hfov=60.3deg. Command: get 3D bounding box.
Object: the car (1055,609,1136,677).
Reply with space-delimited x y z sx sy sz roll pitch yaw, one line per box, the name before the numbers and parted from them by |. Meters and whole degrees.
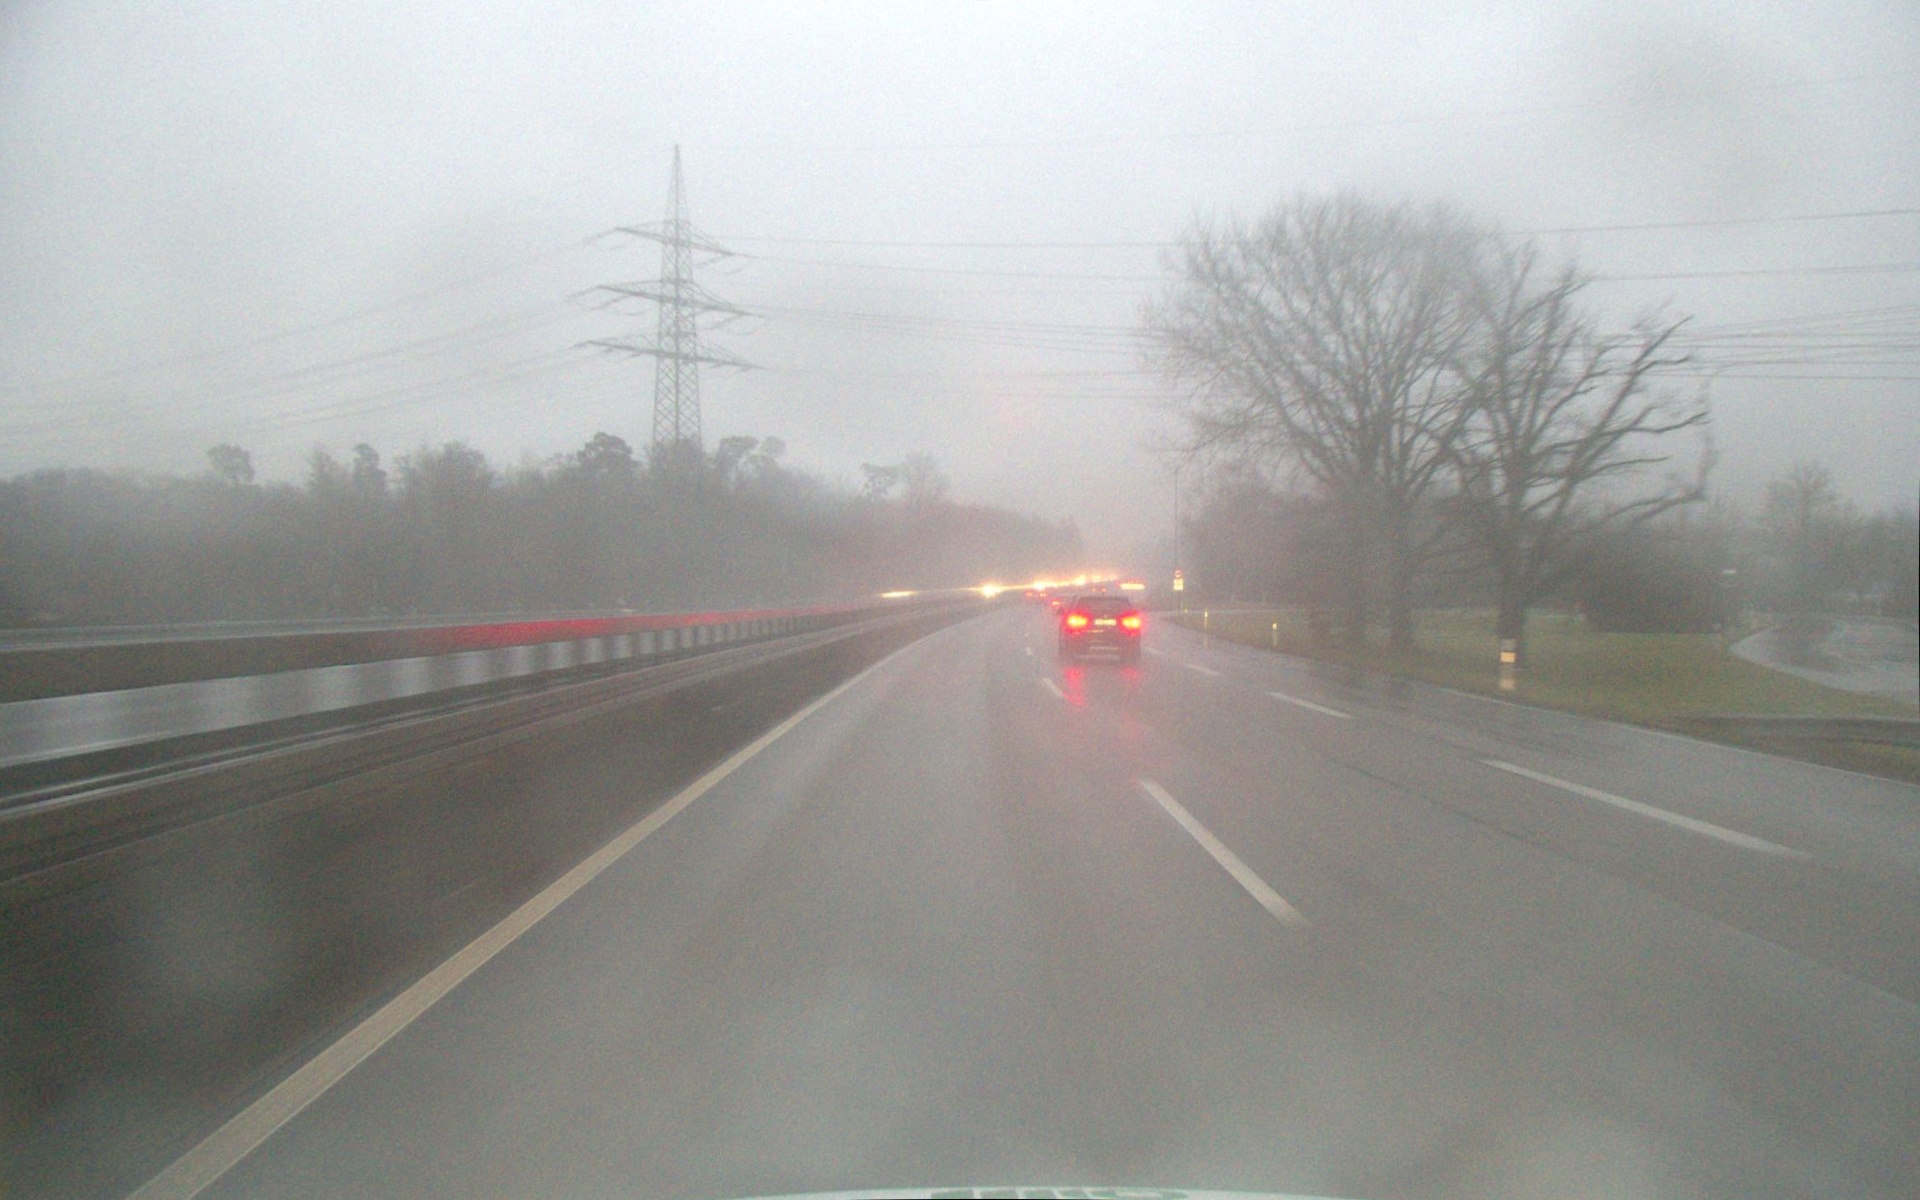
car | 3.353 1.047 41.491 1.644 1.535 3.808 0 1 -1
